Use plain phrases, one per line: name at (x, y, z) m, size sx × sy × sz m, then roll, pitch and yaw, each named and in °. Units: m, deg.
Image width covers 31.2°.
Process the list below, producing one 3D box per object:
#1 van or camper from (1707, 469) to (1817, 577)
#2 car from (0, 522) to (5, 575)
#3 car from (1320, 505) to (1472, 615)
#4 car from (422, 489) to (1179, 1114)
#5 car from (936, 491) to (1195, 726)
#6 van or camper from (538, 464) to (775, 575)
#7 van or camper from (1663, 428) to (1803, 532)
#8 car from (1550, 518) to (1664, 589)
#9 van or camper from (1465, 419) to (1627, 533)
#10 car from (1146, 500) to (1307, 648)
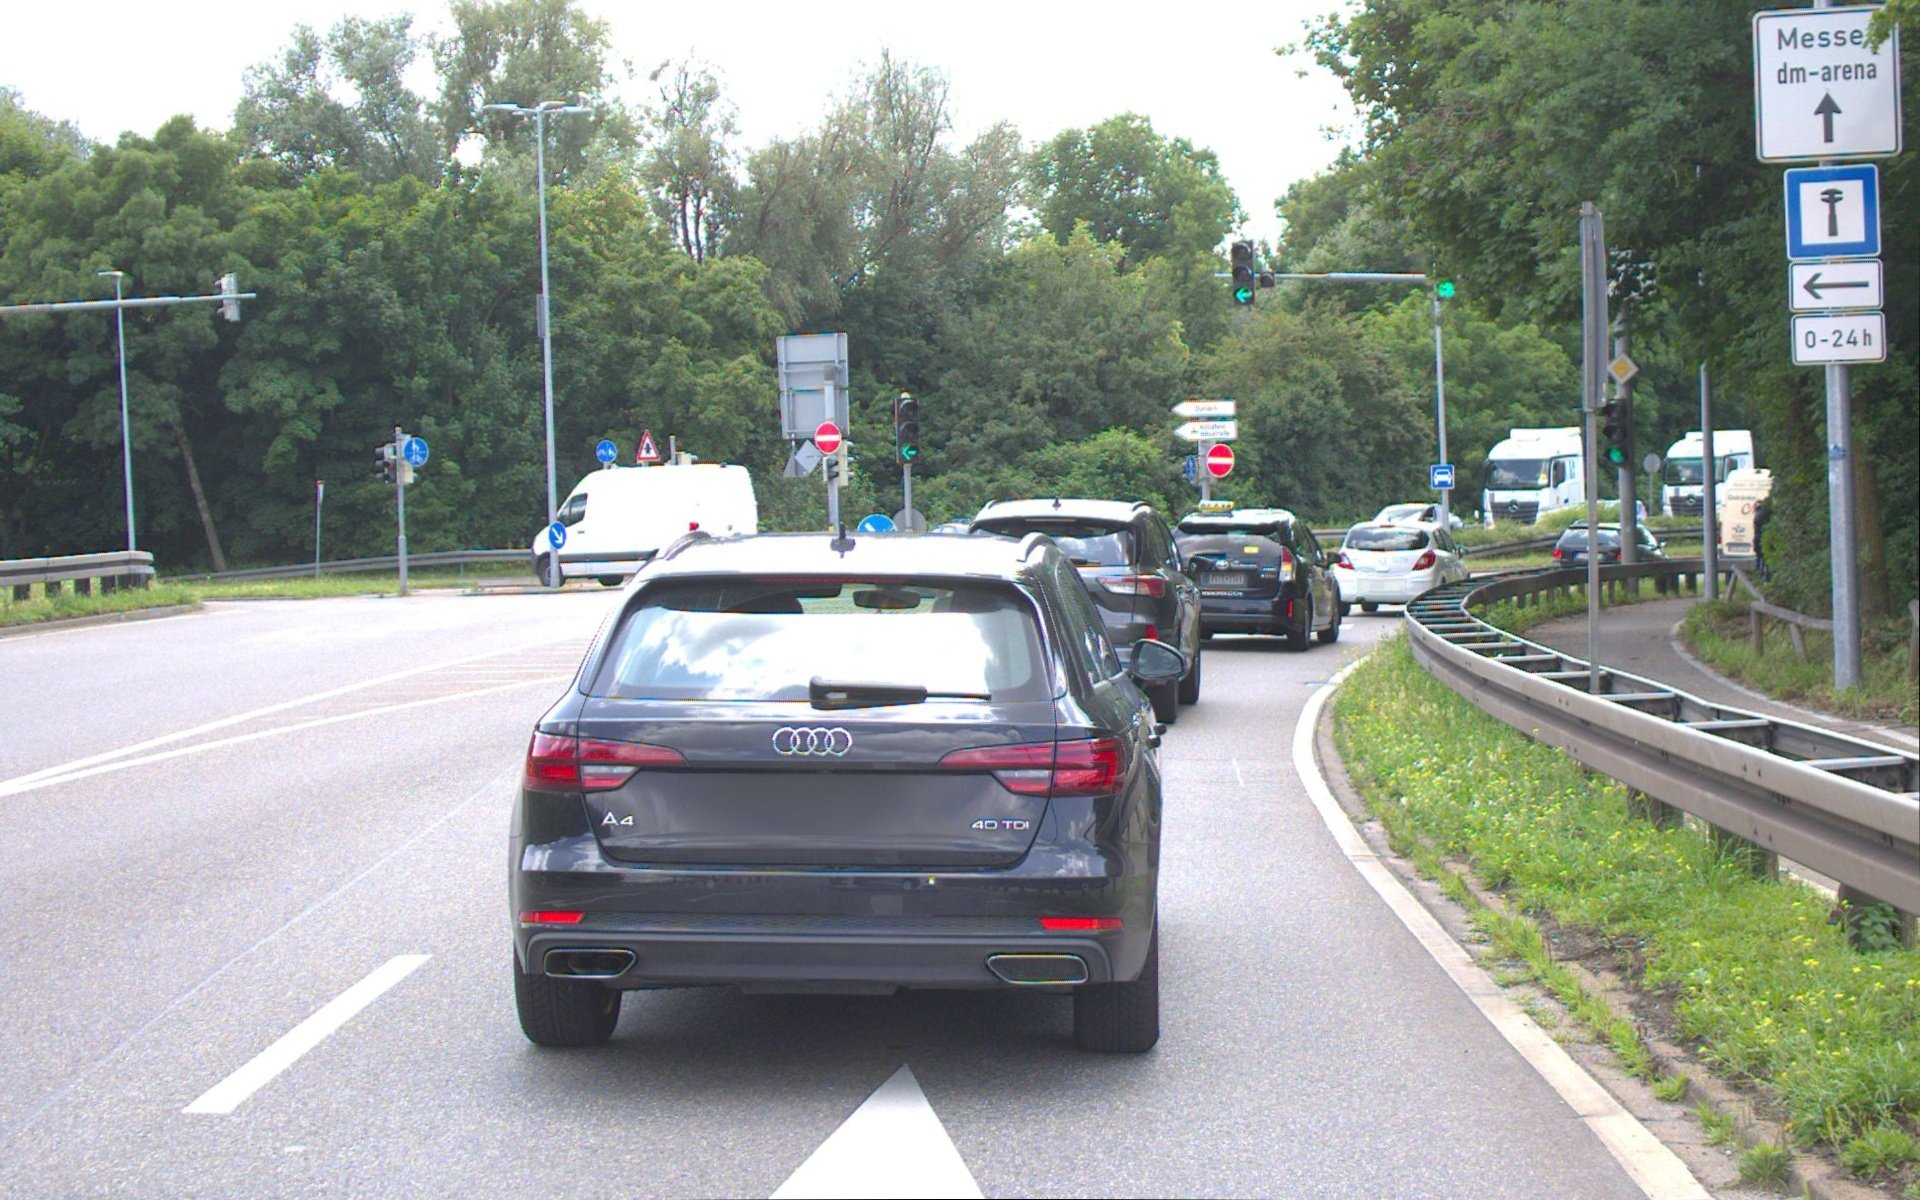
van or camper at (19.886, -1.933, 85.137) m, size 1.996 × 2.581 × 4.085 m, roll 2°, pitch 2°, yaw 22°
car at (-21.699, -1.102, 71.490) m, size 3.585 × 1.113 × 1.591 m, roll 2°, pitch 1°, yaw 34°
car at (6.820, -0.658, 53.506) m, size 1.735 × 1.646 × 3.853 m, roll 1°, pitch 2°, yaw 17°
car at (-0.271, 0.429, 10.640) m, size 1.828 × 1.486 × 4.207 m, roll 0°, pitch 3°, yaw 4°
car at (0.806, 0.008, 26.359) m, size 1.821 × 1.646 × 3.856 m, roll 1°, pitch 2°, yaw 2°
van or camper at (-6.705, -1.791, 75.526) m, size 5.237 × 2.332 × 2.274 m, roll 2°, pitch 2°, yaw 44°
van or camper at (28.296, -4.378, 125.559) m, size 2.909 × 3.602 × 8.003 m, roll 3°, pitch 3°, yaw 28°
car at (13.150, -0.959, 69.788) m, size 1.685 × 1.393 × 3.675 m, roll 0°, pitch 1°, yaw 20°
van or camper at (19.594, -4.132, 114.553) m, size 2.908 × 3.602 × 8.119 m, roll 3°, pitch 3°, yaw 27°
car at (3.168, -0.345, 40.272) m, size 1.734 × 1.646 × 3.855 m, roll 0°, pitch 2°, yaw 6°
